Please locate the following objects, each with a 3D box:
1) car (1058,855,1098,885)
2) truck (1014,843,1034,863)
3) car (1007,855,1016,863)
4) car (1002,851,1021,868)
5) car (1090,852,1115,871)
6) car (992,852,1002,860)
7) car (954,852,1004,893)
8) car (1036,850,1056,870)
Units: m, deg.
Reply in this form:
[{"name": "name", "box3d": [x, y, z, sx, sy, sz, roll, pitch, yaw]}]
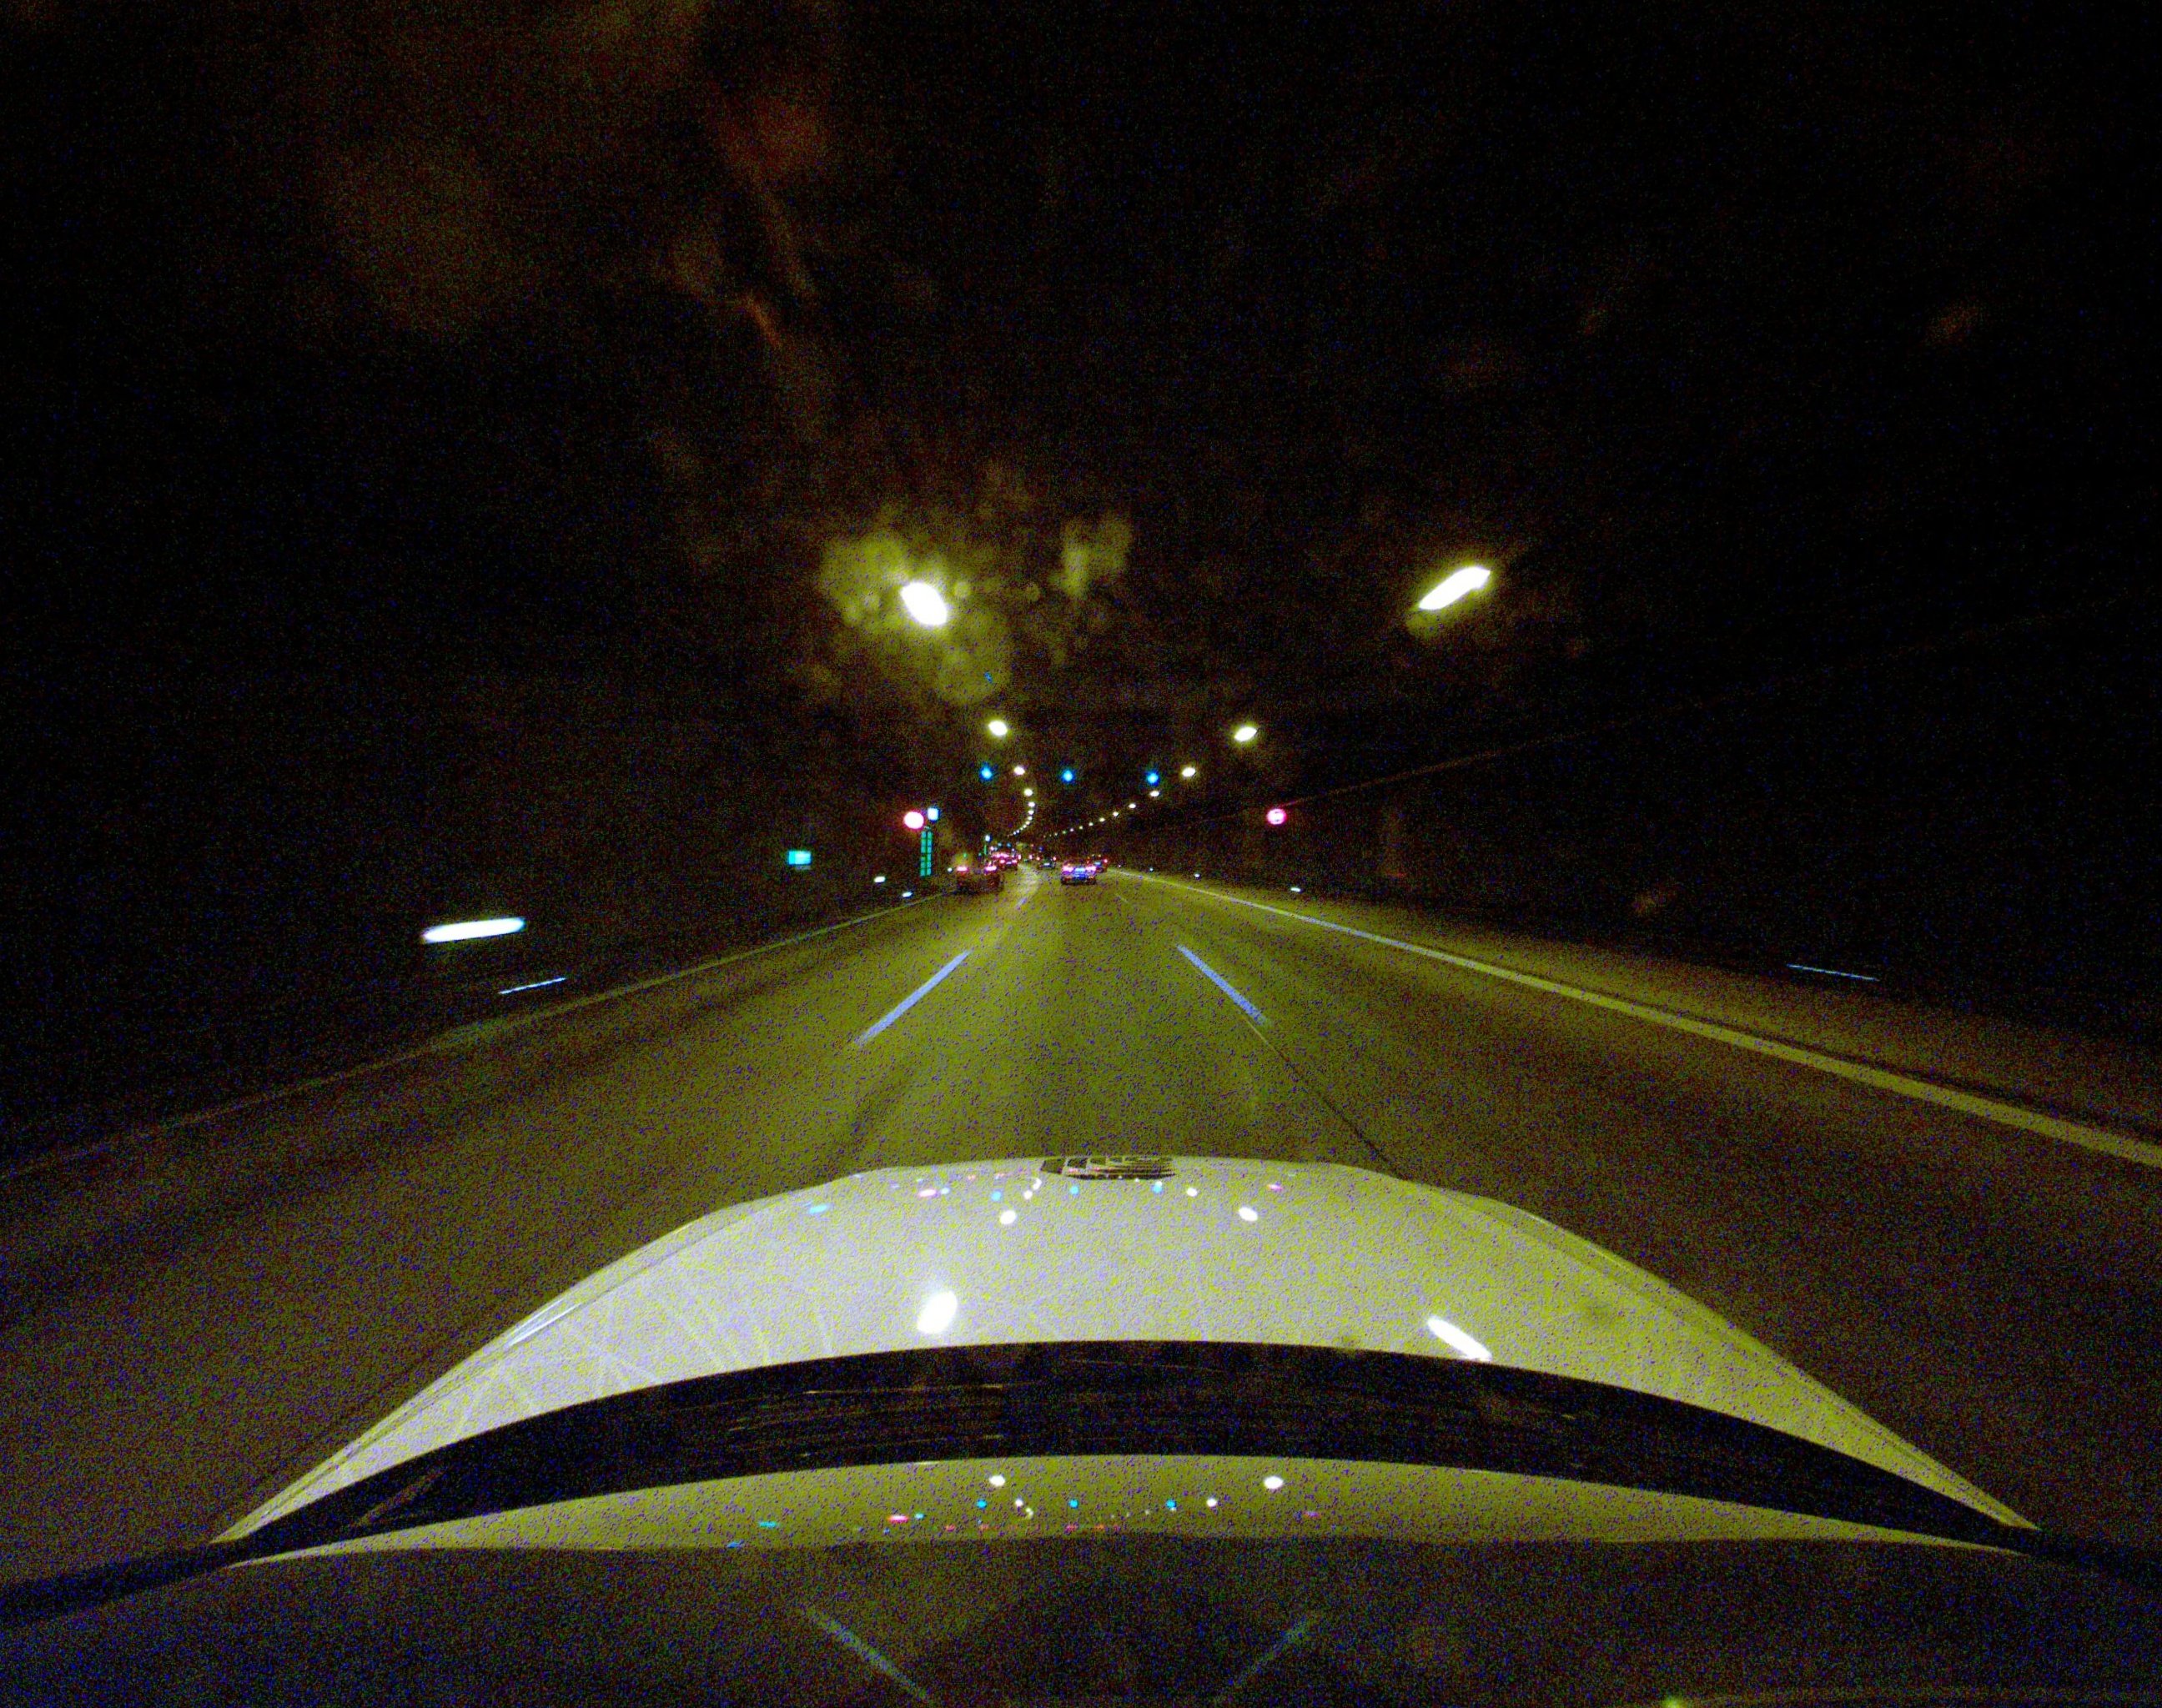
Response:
[{"name": "car", "box3d": [-0.182, 0.804, 42.726, 1.988, 1.483, 3.997, -1, 0, -2]}, {"name": "truck", "box3d": [-9.604, -0.202, 137.045, 3.078, 3.113, 10.010, 0, 1, -5]}, {"name": "car", "box3d": [-16.197, 1.091, 188.638, 1.990, 1.754, 3.994, 0, -1, -4]}, {"name": "car", "box3d": [-6.935, 0.539, 81.220, 1.797, 1.684, 3.994, -1, 0, -4]}, {"name": "car", "box3d": [1.832, 0.622, 69.276, 1.835, 1.602, 3.996, -1, 0, -3]}, {"name": "car", "box3d": [-18.076, 0.456, 175.026, 1.991, 1.530, 3.992, 0, -1, -6]}, {"name": "car", "box3d": [-4.226, 0.743, 34.234, 1.781, 1.598, 3.798, -1, 0, -2]}, {"name": "car", "box3d": [-3.600, 0.577, 83.720, 1.989, 1.972, 3.995, -1, -1, -4]}]
